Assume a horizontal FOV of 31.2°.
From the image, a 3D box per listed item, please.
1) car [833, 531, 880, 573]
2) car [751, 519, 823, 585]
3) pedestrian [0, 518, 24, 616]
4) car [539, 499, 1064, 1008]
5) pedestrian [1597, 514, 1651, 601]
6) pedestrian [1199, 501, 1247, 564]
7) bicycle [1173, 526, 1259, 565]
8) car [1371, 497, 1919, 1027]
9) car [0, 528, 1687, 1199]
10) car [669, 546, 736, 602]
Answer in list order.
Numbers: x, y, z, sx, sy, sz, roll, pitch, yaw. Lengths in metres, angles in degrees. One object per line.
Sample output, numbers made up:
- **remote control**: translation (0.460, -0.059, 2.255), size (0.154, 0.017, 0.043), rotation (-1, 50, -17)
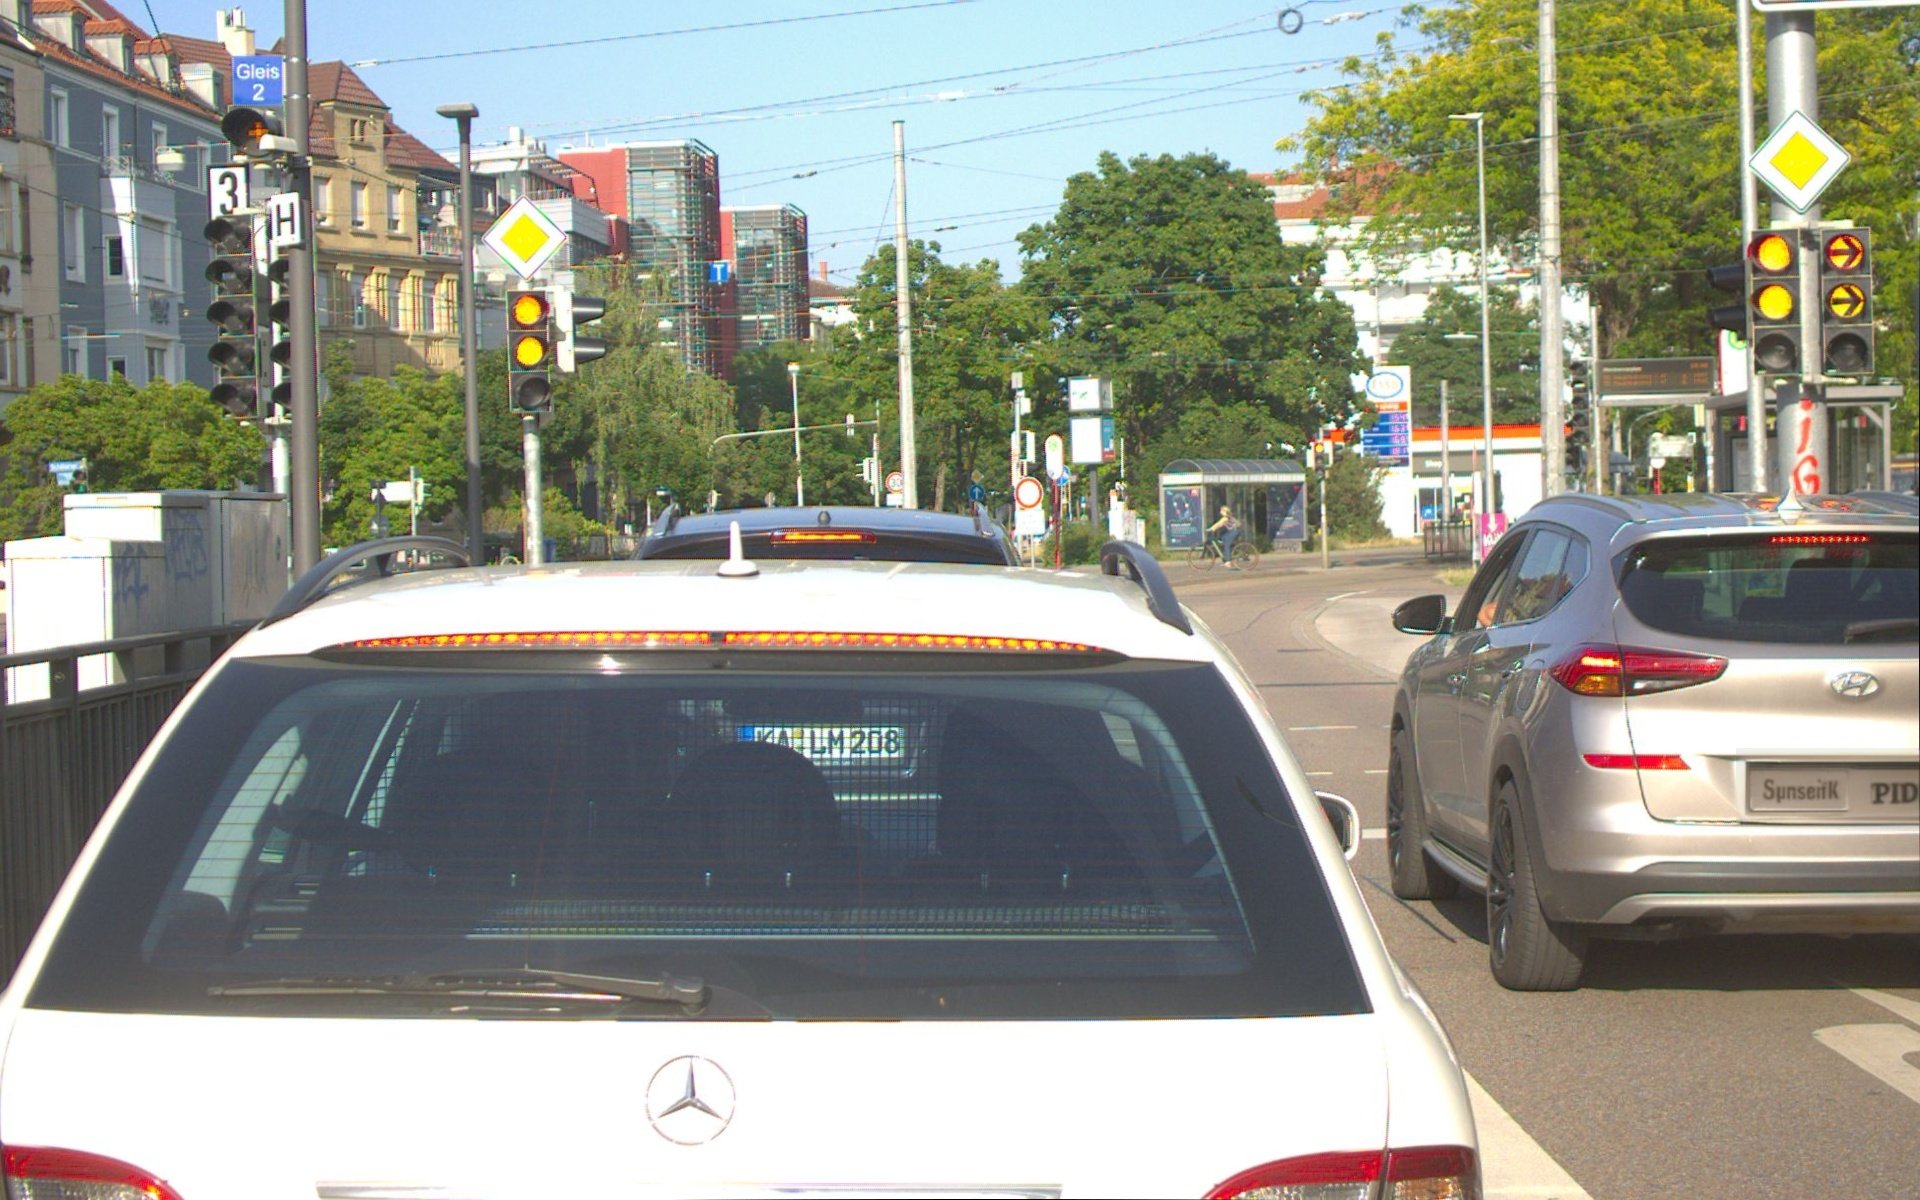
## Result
- **car**: translation (-4.139, -1.956, 138.107), size (1.767, 1.489, 4.745), rotation (-2, 3, -1)
- **car**: translation (-6.139, -1.742, 122.455), size (2.177, 2.231, 5.253), rotation (-2, 2, 0)
- **pedestrian**: translation (-18.728, -0.641, 67.280), size (0.584, 1.874, 0.627), rotation (-2, 3, -3)
- **car**: translation (-0.518, 0.440, 12.674), size (1.641, 1.594, 3.815), rotation (0, 1, -1)
- **pedestrian**: translation (15.517, -1.000, 80.332), size (0.997, 2.007, 0.827), rotation (-1, 1, 27)
- **pedestrian**: translation (6.718, -1.721, 87.878), size (1.007, 1.586, 0.865), rotation (-1, 1, 19)
- **bicycle**: translation (6.558, -1.387, 87.936), size (2.019, 0.943, 0.878), rotation (-1, 1, 19)
- **car**: translation (2.636, 0.446, 12.251), size (1.835, 1.594, 3.815), rotation (0, 1, -1)
- **car**: translation (-0.277, 0.645, 5.053), size (1.835, 1.496, 3.815), rotation (0, 1, -1)
- **car**: translation (-7.878, -0.818, 105.614), size (1.676, 1.520, 4.125), rotation (-2, 2, 0)
